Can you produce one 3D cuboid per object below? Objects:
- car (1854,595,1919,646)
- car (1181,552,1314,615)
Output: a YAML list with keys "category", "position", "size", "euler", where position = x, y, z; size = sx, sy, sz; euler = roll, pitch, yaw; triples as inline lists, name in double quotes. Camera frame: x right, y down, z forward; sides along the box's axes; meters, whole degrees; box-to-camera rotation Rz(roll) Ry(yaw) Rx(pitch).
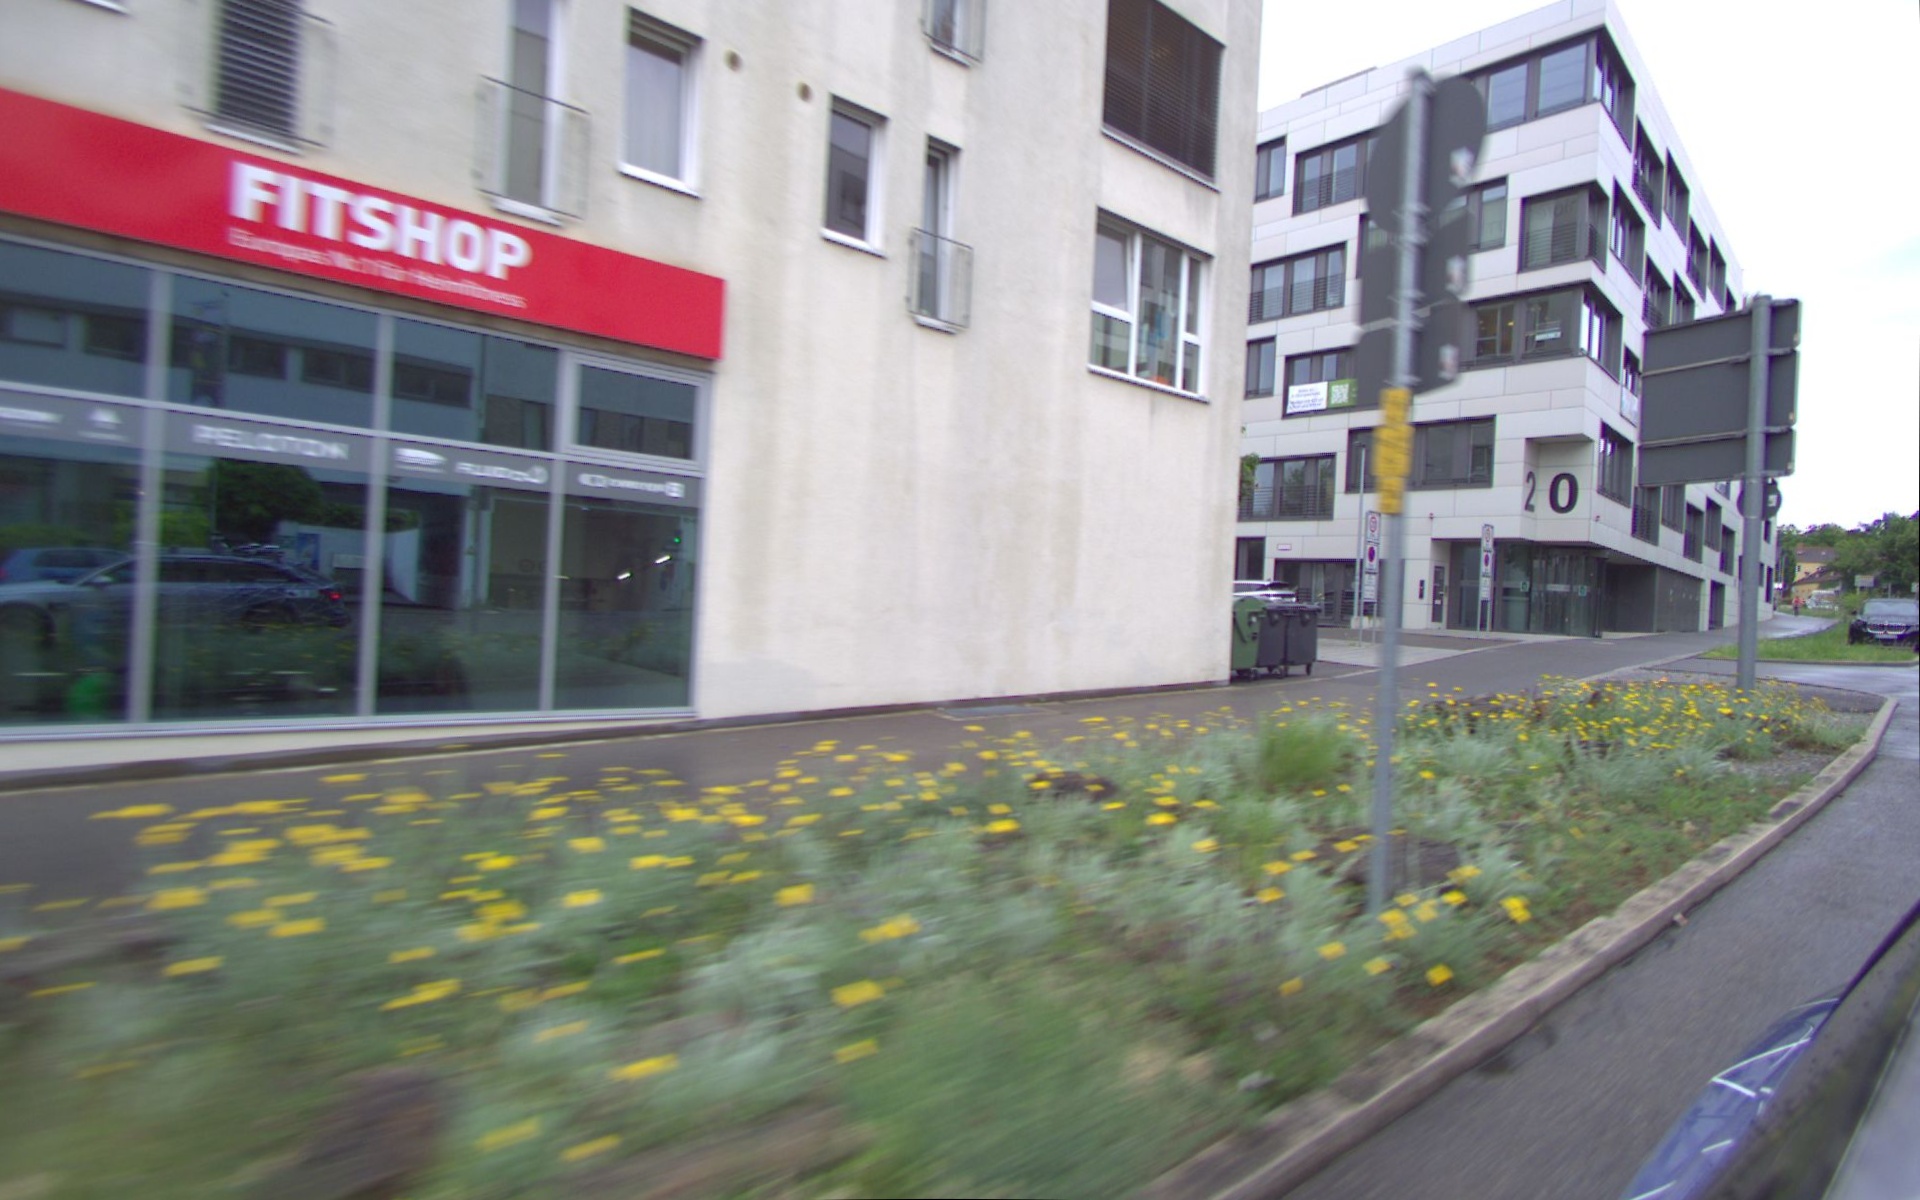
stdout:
- category: "car"
  position: [29.676, 0.599, 31.704]
  size: [3.930, 1.505, 1.997]
  euler: [-1, 1, -41]
- category: "car"
  position: [9.860, -0.607, 34.912]
  size: [1.964, 2.038, 3.997]
  euler: [0, 2, -39]
